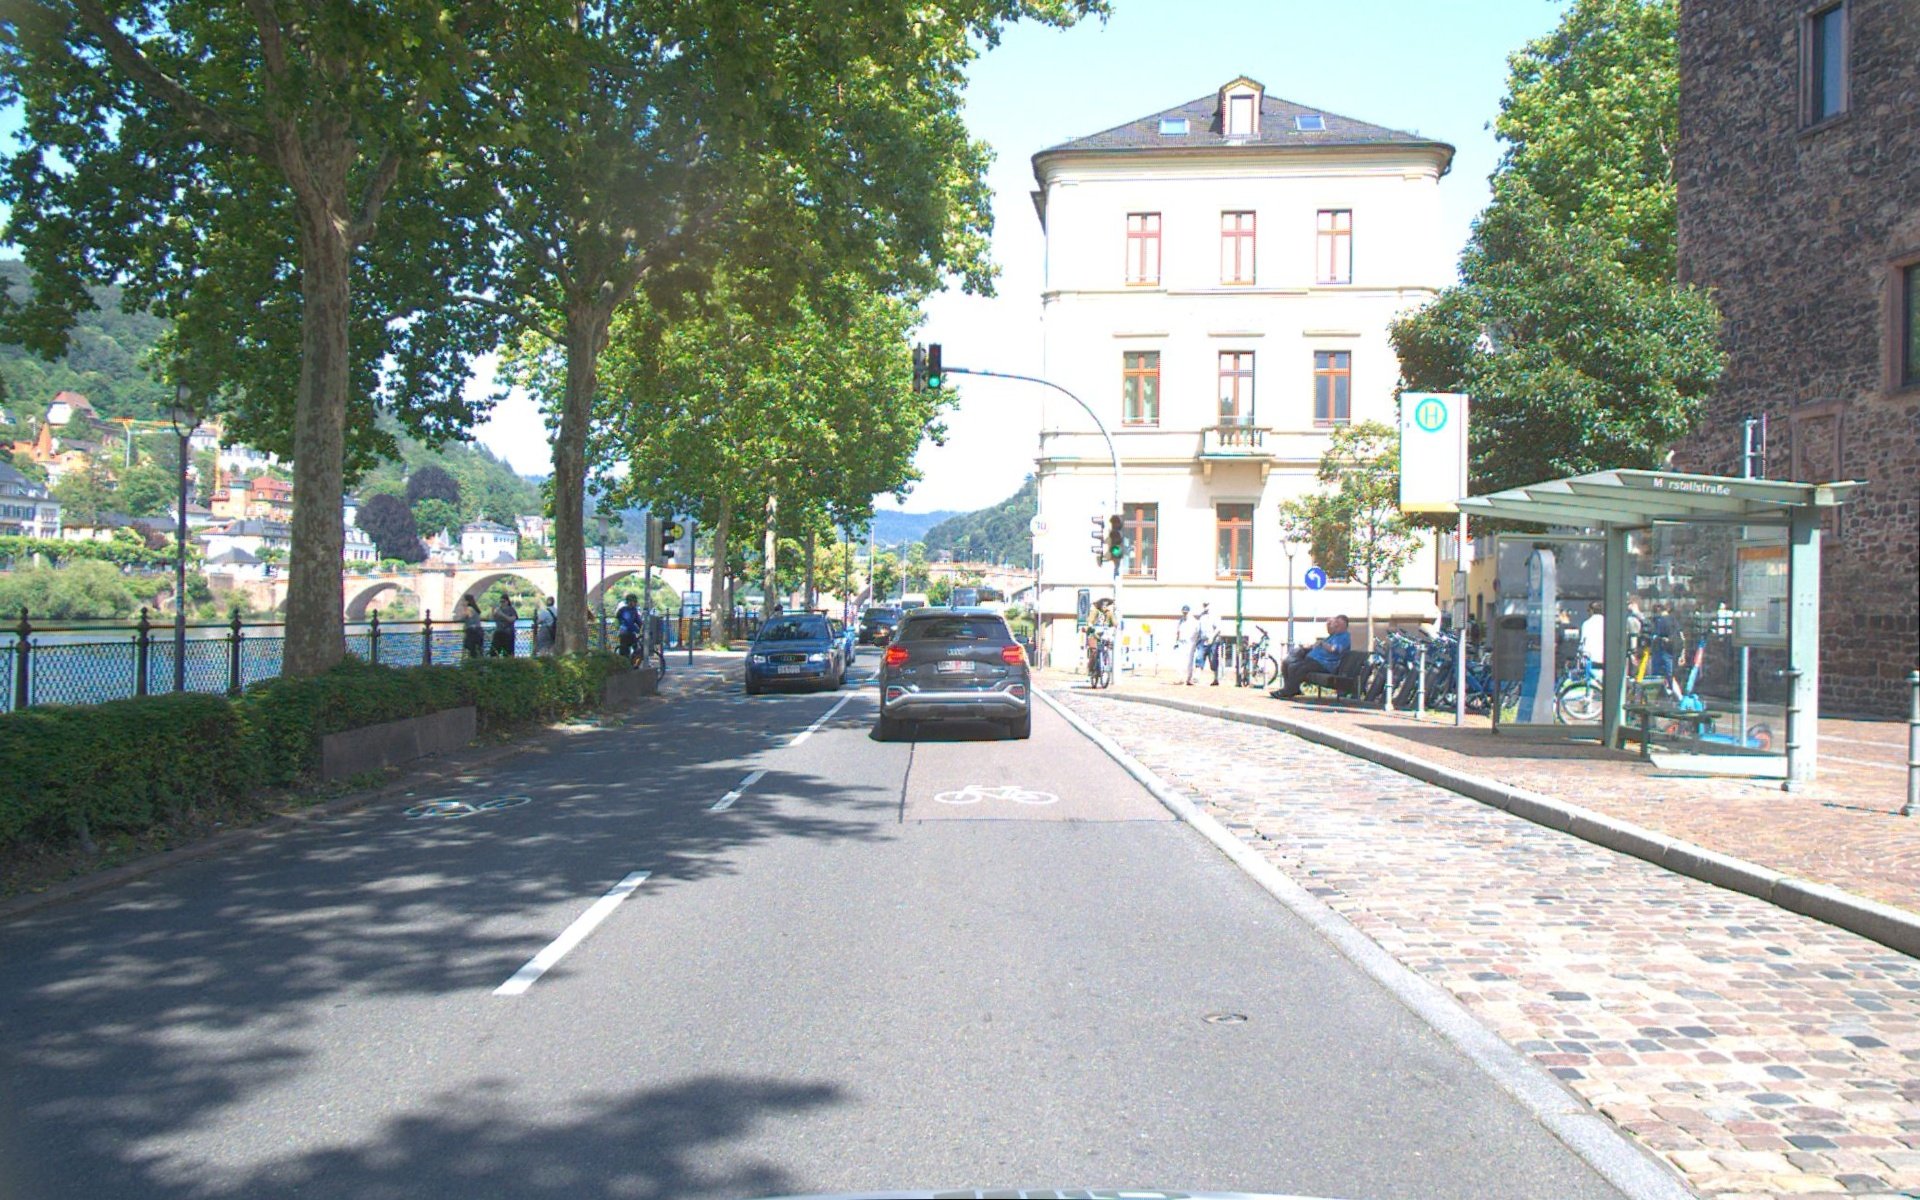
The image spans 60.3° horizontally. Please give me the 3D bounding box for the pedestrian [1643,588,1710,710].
[{"bbox_3d":[12.452,0.848,28.758,0.715,2.049,0.878,3,-1,-1],"label":"pedestrian"}]

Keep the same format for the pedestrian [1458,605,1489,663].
[{"bbox_3d":[18.528,1.225,59.701,0.822,2.049,0.738,3,-1,0],"label":"pedestrian"}]

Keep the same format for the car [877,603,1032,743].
[{"bbox_3d":[-0.064,0.809,20.073,1.707,1.535,3.647,0,0,0],"label":"car"}]

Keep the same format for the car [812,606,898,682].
[{"bbox_3d":[-2.444,1.006,39.263,1.757,1.623,3.399,3,0,0],"label":"car"}]

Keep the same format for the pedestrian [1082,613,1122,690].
[{"bbox_3d":[2.923,1.058,34.137,0.679,1.526,0.513,3,-1,-4],"label":"pedestrian"}]

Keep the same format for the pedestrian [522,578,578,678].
[{"bbox_3d":[-8.674,0.593,35.011,0.891,2.049,0.586,3,-1,4],"label":"pedestrian"}]

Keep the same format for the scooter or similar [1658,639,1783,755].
[{"bbox_3d":[7.564,0.958,16.458,1.067,1.084,0.323,3,-1,-2],"label":"scooter or similar"}]

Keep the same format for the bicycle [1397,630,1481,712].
[{"bbox_3d":[7.043,1.042,24.313,1.284,1.147,0.178,3,-1,-19],"label":"bicycle"}]

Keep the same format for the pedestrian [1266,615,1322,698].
[{"bbox_3d":[5.253,0.886,26.011,0.651,1.253,0.640,3,-1,-6],"label":"pedestrian"}]

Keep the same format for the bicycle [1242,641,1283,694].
[{"bbox_3d":[5.897,1.309,32.293,0.293,0.980,1.184,3,-1,-13],"label":"bicycle"}]

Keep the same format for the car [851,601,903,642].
[{"bbox_3d":[-3.631,0.978,72.927,1.952,1.654,4.000,3,-1,1],"label":"car"}]

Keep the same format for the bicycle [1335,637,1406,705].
[{"bbox_3d":[6.568,1.139,26.445,1.166,1.033,0.178,3,-1,-19],"label":"bicycle"}]

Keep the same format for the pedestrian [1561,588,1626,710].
[{"bbox_3d":[10.325,0.794,26.975,0.655,1.917,0.821,3,-1,-1],"label":"pedestrian"}]

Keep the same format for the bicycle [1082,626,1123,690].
[{"bbox_3d":[2.583,1.036,30.026,0.428,1.105,1.675,3,-1,-4],"label":"bicycle"}]

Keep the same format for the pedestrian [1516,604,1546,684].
[{"bbox_3d":[12.461,0.963,36.082,0.440,1.710,0.466,3,-1,3],"label":"pedestrian"}]

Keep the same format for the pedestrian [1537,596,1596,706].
[{"bbox_3d":[10.396,0.871,28.360,0.638,1.834,0.847,2,-1,-1],"label":"pedestrian"}]

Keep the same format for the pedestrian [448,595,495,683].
[{"bbox_3d":[-9.413,0.746,31.864,0.611,1.647,0.586,3,-1,4],"label":"pedestrian"}]

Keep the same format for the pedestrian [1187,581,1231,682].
[{"bbox_3d":[5.173,0.656,34.334,0.627,2.049,0.664,2,-1,29],"label":"pedestrian"}]

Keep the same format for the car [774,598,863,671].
[{"bbox_3d":[-3.868,0.961,45.845,1.952,1.838,4.000,3,-1,1],"label":"car"}]

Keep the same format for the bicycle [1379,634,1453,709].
[{"bbox_3d":[6.899,1.086,25.030,1.140,1.089,0.178,3,-1,-19],"label":"bicycle"}]

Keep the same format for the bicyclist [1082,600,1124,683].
[{"bbox_3d":[2.597,0.748,30.051,0.593,1.475,0.590,3,-1,-5],"label":"bicyclist"}]

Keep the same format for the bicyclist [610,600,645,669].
[{"bbox_3d":[-6.627,0.686,32.991,0.555,1.334,0.551,3,-1,-5],"label":"bicyclist"}]

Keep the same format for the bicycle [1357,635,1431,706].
[{"bbox_3d":[6.769,1.104,25.802,1.184,1.053,0.178,3,-1,-19],"label":"bicycle"}]

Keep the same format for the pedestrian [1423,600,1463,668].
[{"bbox_3d":[14.969,1.051,51.312,0.925,2.049,0.807,3,-1,0],"label":"pedestrian"}]

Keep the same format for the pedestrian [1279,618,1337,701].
[{"bbox_3d":[5.325,0.903,25.319,0.651,1.233,0.640,3,-1,-6],"label":"pedestrian"}]

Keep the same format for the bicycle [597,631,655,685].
[{"bbox_3d":[-6.649,1.158,32.954,1.072,1.024,0.303,3,-2,-7],"label":"bicycle"}]

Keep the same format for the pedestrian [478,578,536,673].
[{"bbox_3d":[-9.078,0.502,33.158,0.891,1.843,0.586,3,-1,4],"label":"pedestrian"}]

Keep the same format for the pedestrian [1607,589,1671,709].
[{"bbox_3d":[11.366,0.818,27.712,0.655,1.954,0.821,3,-1,-1],"label":"pedestrian"}]

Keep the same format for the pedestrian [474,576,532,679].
[{"bbox_3d":[-9.374,0.569,33.925,0.891,2.049,0.586,3,-1,4],"label":"pedestrian"}]

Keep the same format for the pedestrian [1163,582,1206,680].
[{"bbox_3d":[4.771,0.664,35.129,0.627,2.049,0.664,2,-1,29],"label":"pedestrian"}]

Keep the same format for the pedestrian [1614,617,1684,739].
[{"bbox_3d":[8.234,0.925,19.778,0.546,1.409,0.588,3,-1,2],"label":"pedestrian"}]
